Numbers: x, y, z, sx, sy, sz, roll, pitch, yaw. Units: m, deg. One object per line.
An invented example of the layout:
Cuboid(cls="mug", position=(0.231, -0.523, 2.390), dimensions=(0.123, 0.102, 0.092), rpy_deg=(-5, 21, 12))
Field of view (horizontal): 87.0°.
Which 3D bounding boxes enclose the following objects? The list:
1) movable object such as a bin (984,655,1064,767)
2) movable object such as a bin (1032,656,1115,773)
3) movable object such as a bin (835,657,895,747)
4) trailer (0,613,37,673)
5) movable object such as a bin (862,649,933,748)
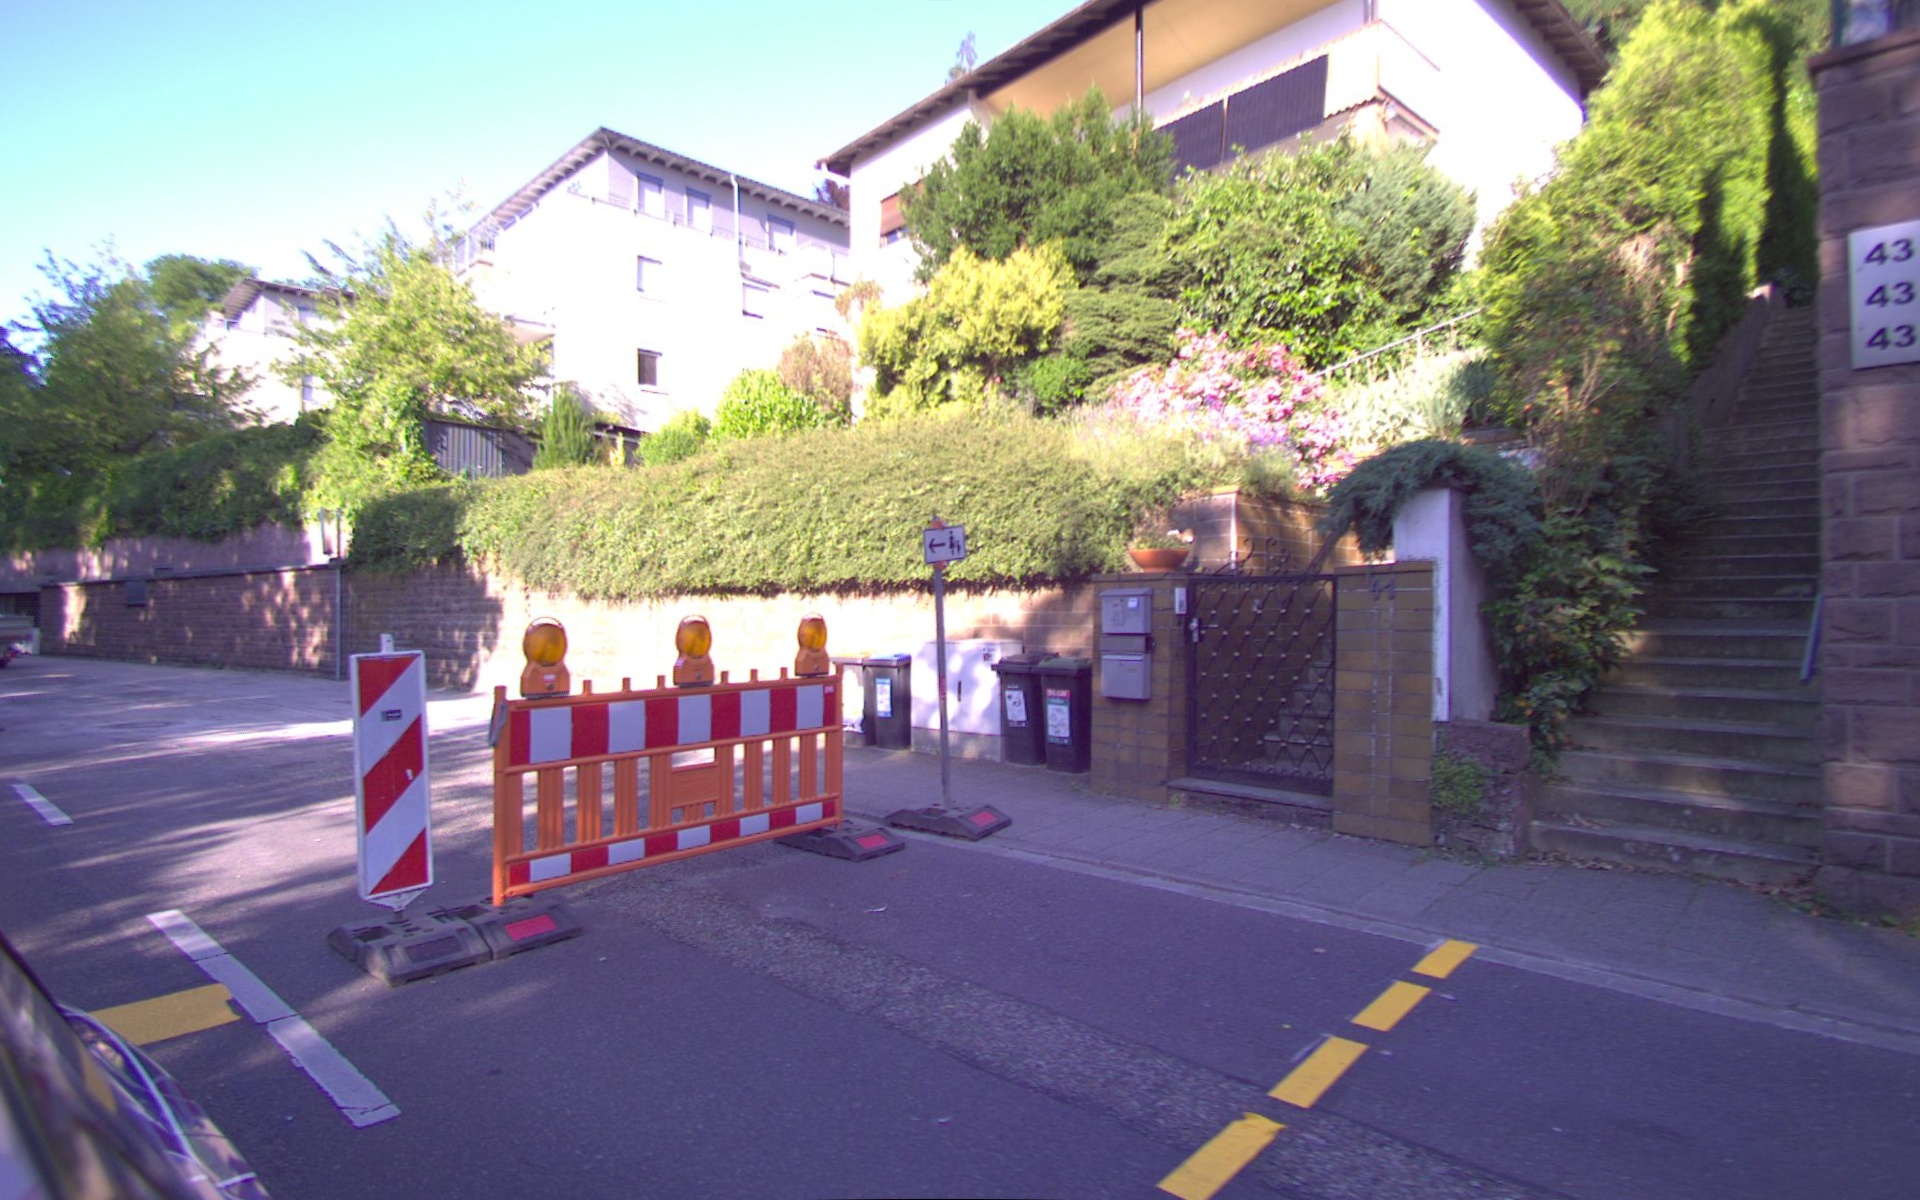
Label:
Cuboid(cls="movable object such as a bin", position=(0.555, 0.940, 8.721), dimensions=(0.500, 0.890, 0.451), rpy_deg=(-1, 0, 43))
Cuboid(cls="movable object such as a bin", position=(0.936, 0.925, 8.359), dimensions=(0.500, 0.890, 0.451), rpy_deg=(-1, 0, 43))
Cuboid(cls="movable object such as a bin", position=(-0.945, 1.002, 10.083), dimensions=(0.392, 0.840, 0.449), rpy_deg=(-1, -1, 42))
Cuboid(cls="trailer", position=(-27.713, 1.150, 27.180), dimensions=(7.097, 1.500, 2.619), rpy_deg=(-1, 1, 33))
Cuboid(cls="movable object such as a bin", position=(-0.605, 0.934, 9.759), dimensions=(0.500, 0.890, 0.451), rpy_deg=(-1, 0, 43))
